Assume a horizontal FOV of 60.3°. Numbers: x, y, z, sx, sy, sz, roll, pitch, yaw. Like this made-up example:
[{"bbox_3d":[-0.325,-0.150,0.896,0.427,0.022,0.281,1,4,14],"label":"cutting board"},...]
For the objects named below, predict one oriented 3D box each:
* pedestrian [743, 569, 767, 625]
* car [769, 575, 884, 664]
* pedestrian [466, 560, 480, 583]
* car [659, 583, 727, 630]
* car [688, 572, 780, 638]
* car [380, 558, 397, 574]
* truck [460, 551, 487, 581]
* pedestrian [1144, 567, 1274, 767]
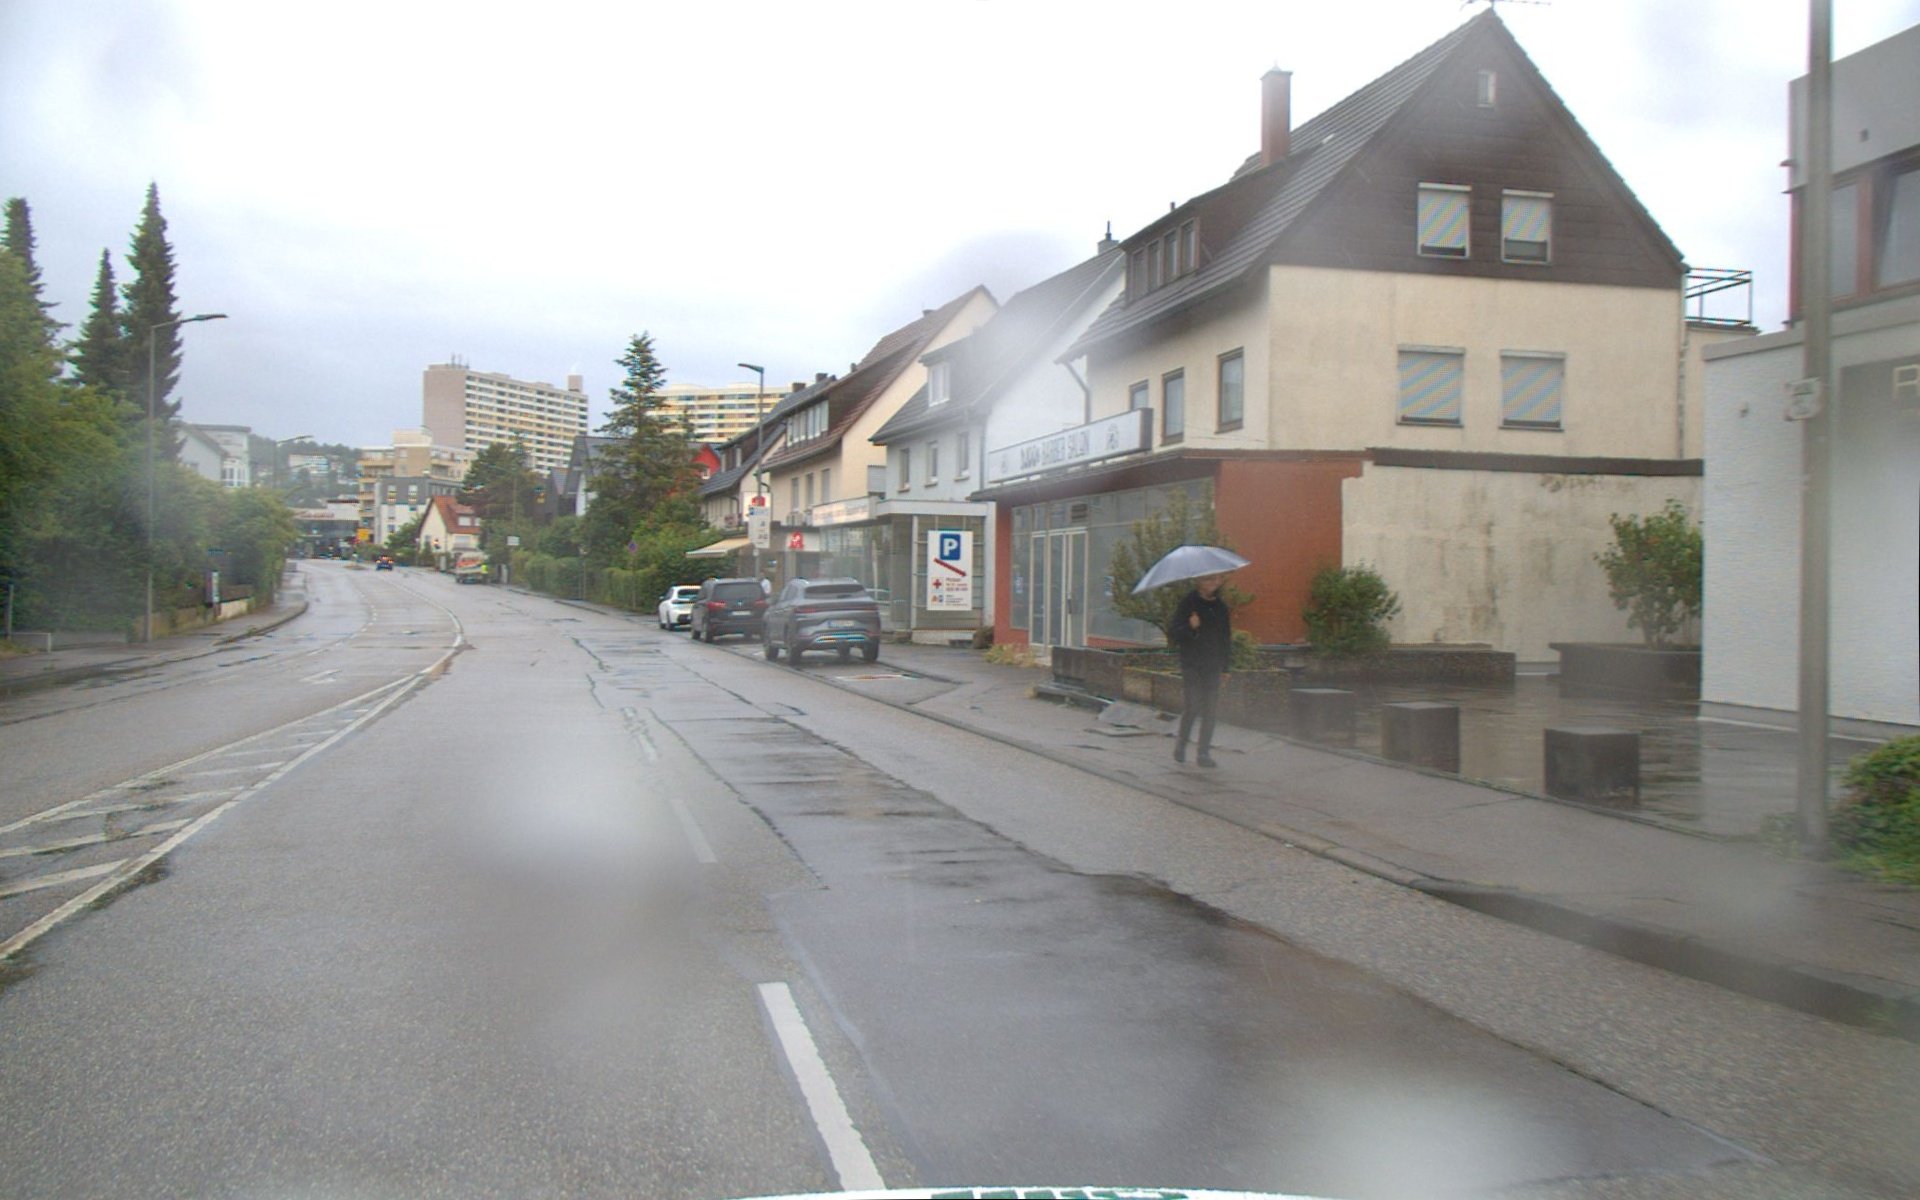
[{"bbox_3d":[-7.147,-0.114,57.628,0.609,1.924,0.648,0,0,19],"label":"pedestrian"},{"bbox_3d":[-2.891,0.376,34.922,1.842,1.671,4.779,-2,1,-11],"label":"car"},{"bbox_3d":[-37.448,-2.194,127.273,0.818,1.828,0.789,-1,2,-40],"label":"pedestrian"},{"bbox_3d":[-9.164,0.190,56.588,1.786,1.473,4.185,-2,1,-16],"label":"car"},{"bbox_3d":[-6.537,0.133,47.364,2.002,1.725,4.944,-2,0,-14],"label":"car"},{"bbox_3d":[-62.734,-3.715,181.496,1.768,1.698,3.977,-1,1,-20],"label":"car"},{"bbox_3d":[-38.792,-2.697,131.817,1.962,2.343,3.981,0,2,-18],"label":"truck"},{"bbox_3d":[2.070,0.547,13.849,0.739,1.596,0.990,2,-1,-12],"label":"pedestrian"}]
